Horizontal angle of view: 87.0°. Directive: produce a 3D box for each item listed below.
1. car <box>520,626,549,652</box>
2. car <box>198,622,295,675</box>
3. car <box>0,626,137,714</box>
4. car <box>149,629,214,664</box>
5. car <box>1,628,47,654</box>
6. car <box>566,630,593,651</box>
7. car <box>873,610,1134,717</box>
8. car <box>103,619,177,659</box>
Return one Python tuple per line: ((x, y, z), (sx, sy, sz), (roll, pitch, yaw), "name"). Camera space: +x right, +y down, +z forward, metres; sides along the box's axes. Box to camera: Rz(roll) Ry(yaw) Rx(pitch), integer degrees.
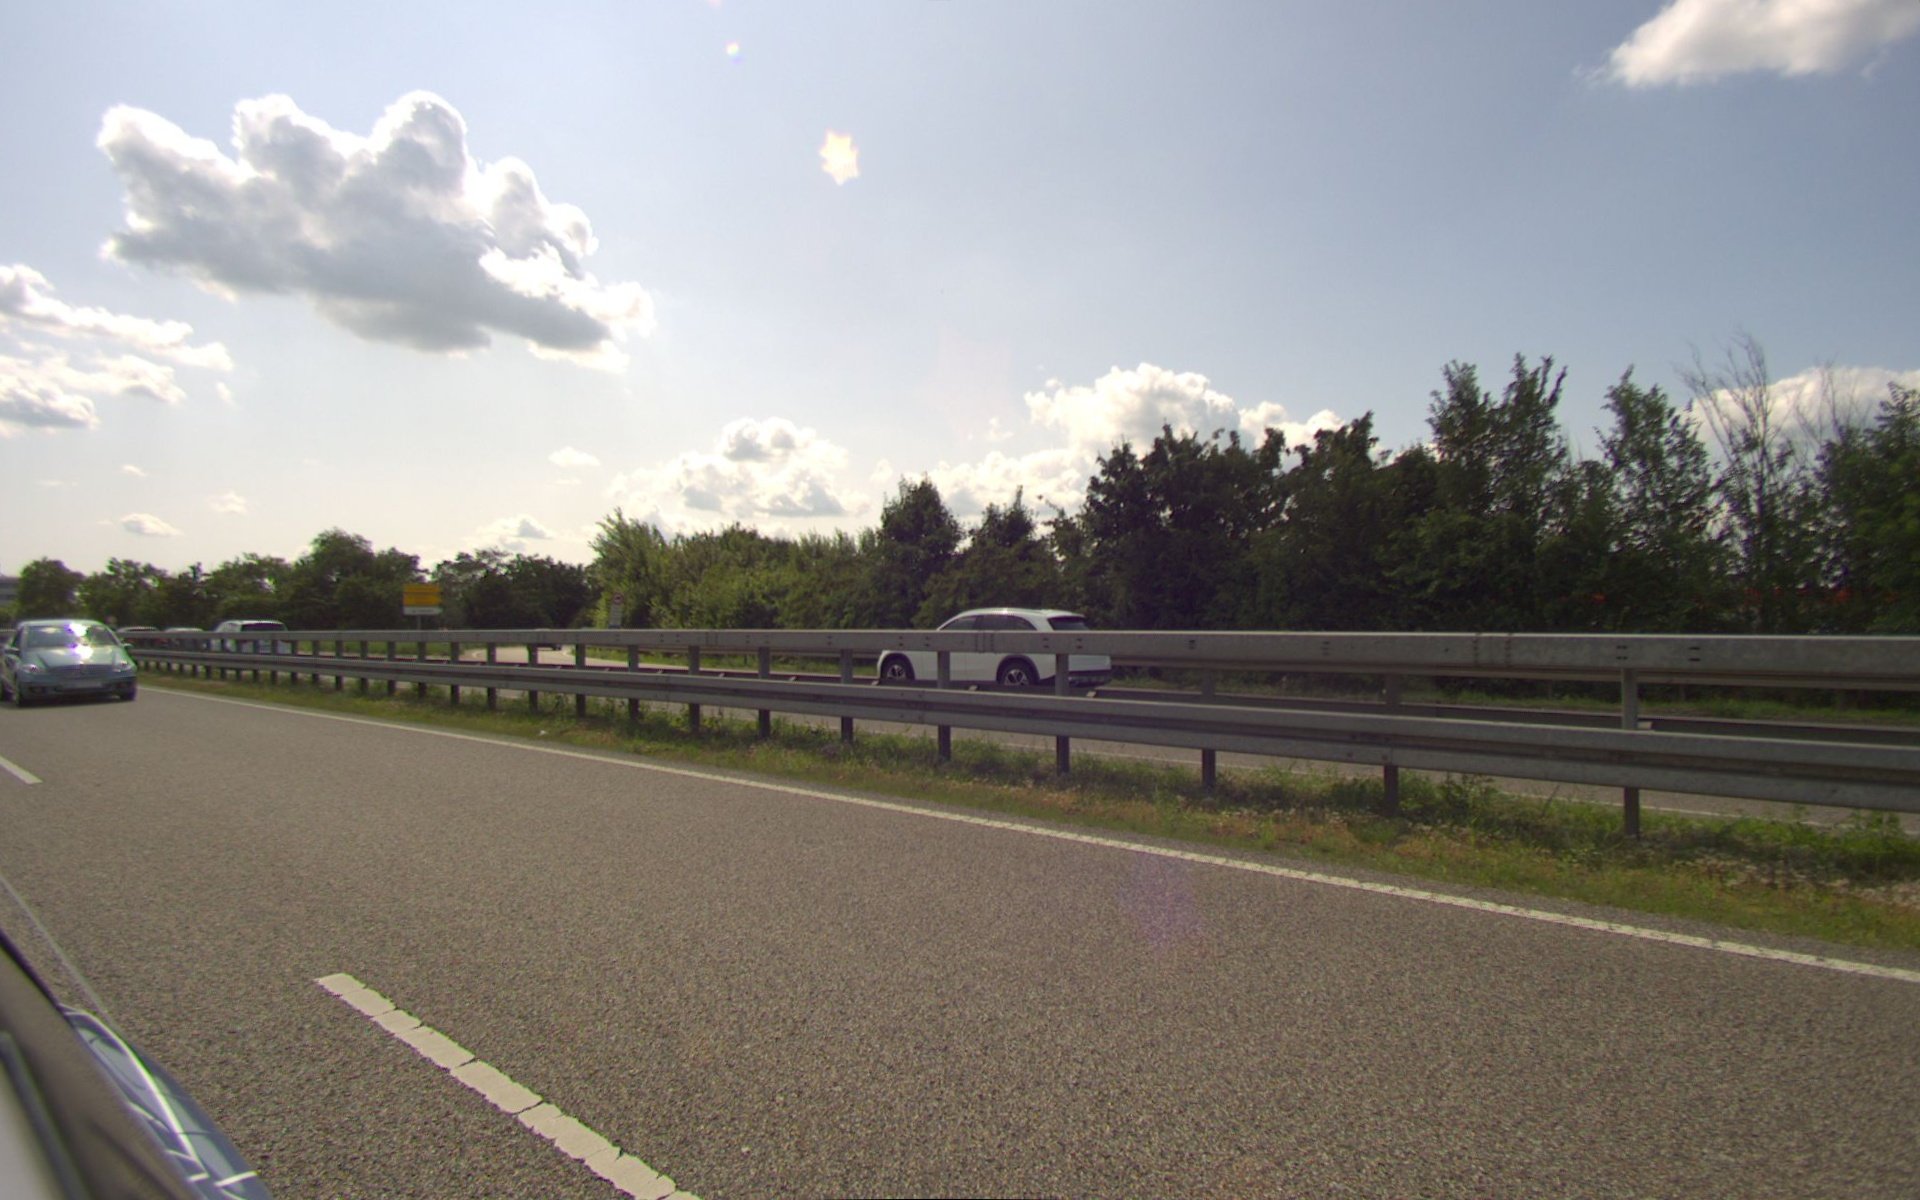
((-28.312, 2.555, 67.459), (1.700, 1.538, 4.013), (-1, 0, -22), "car")
((-24.522, 1.605, 34.738), (4.266, 1.658, 1.671), (-1, 0, 40), "car")
((-17.728, 1.297, 19.945), (3.998, 1.543, 1.729), (-1, -1, 42), "car")
((-42.015, 2.469, 54.581), (4.549, 1.658, 1.940), (-1, 0, 42), "car")
((-65.590, 2.857, 70.924), (4.549, 1.658, 1.940), (-1, 0, 42), "car")
((-32.003, 3.395, 85.259), (1.700, 1.538, 4.011), (-1, 0, -15), "car")
((0.697, 1.048, 18.448), (4.549, 1.658, 1.940), (-1, 0, 42), "car")
((-37.606, 1.742, 46.370), (4.549, 1.658, 1.940), (-1, 0, 42), "car")
